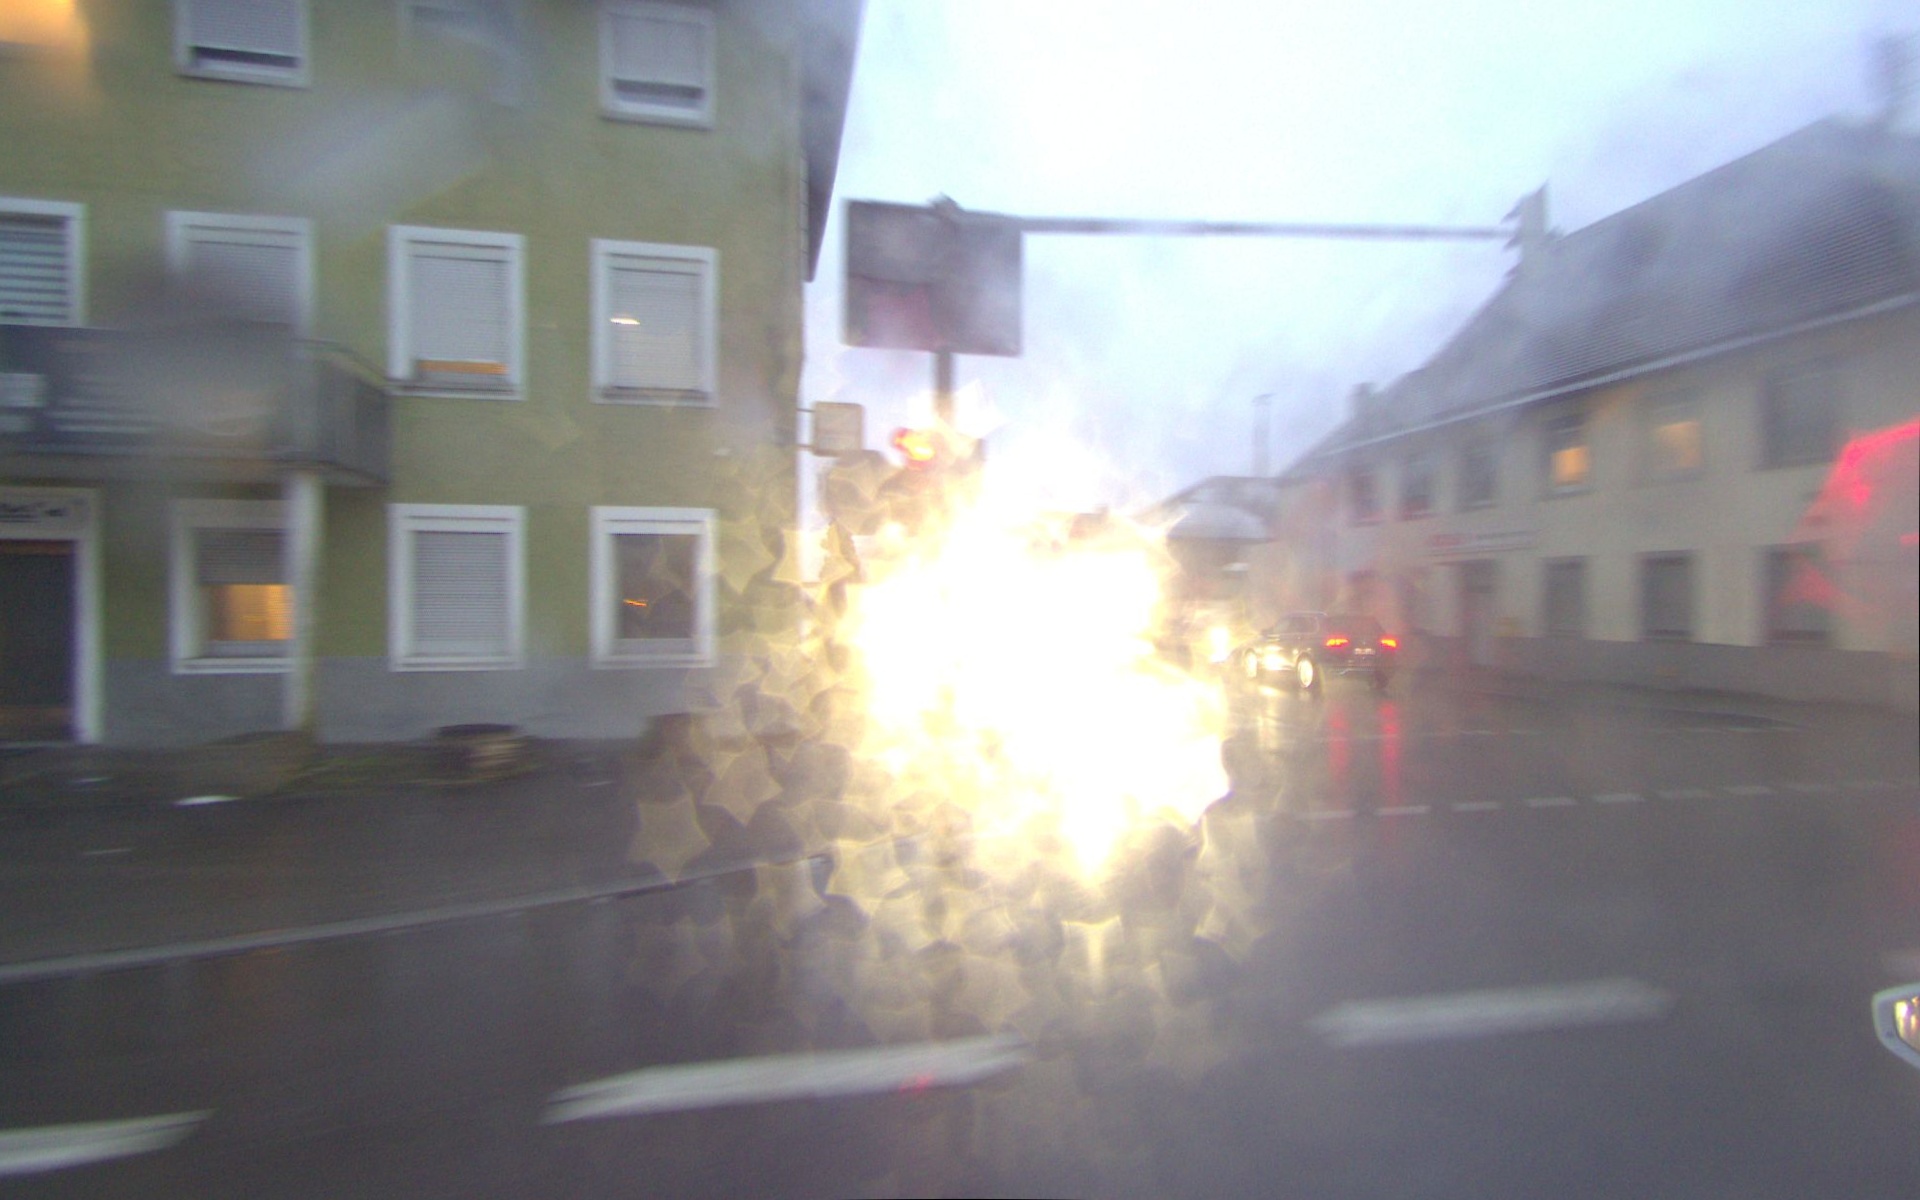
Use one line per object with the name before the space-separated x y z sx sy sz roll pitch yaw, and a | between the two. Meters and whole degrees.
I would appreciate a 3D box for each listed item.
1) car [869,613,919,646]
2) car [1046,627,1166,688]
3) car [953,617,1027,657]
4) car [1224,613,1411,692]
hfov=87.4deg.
car | -3.497 1.497 52.413 1.850 1.606 4.277 0 -1 -15
car | 3.887 1.493 27.588 1.853 1.412 4.514 0 0 -12
car | 1.077 1.370 38.323 1.800 1.391 4.274 0 0 -14
car | 7.913 1.107 22.777 2.016 1.593 4.696 0 -1 -9
